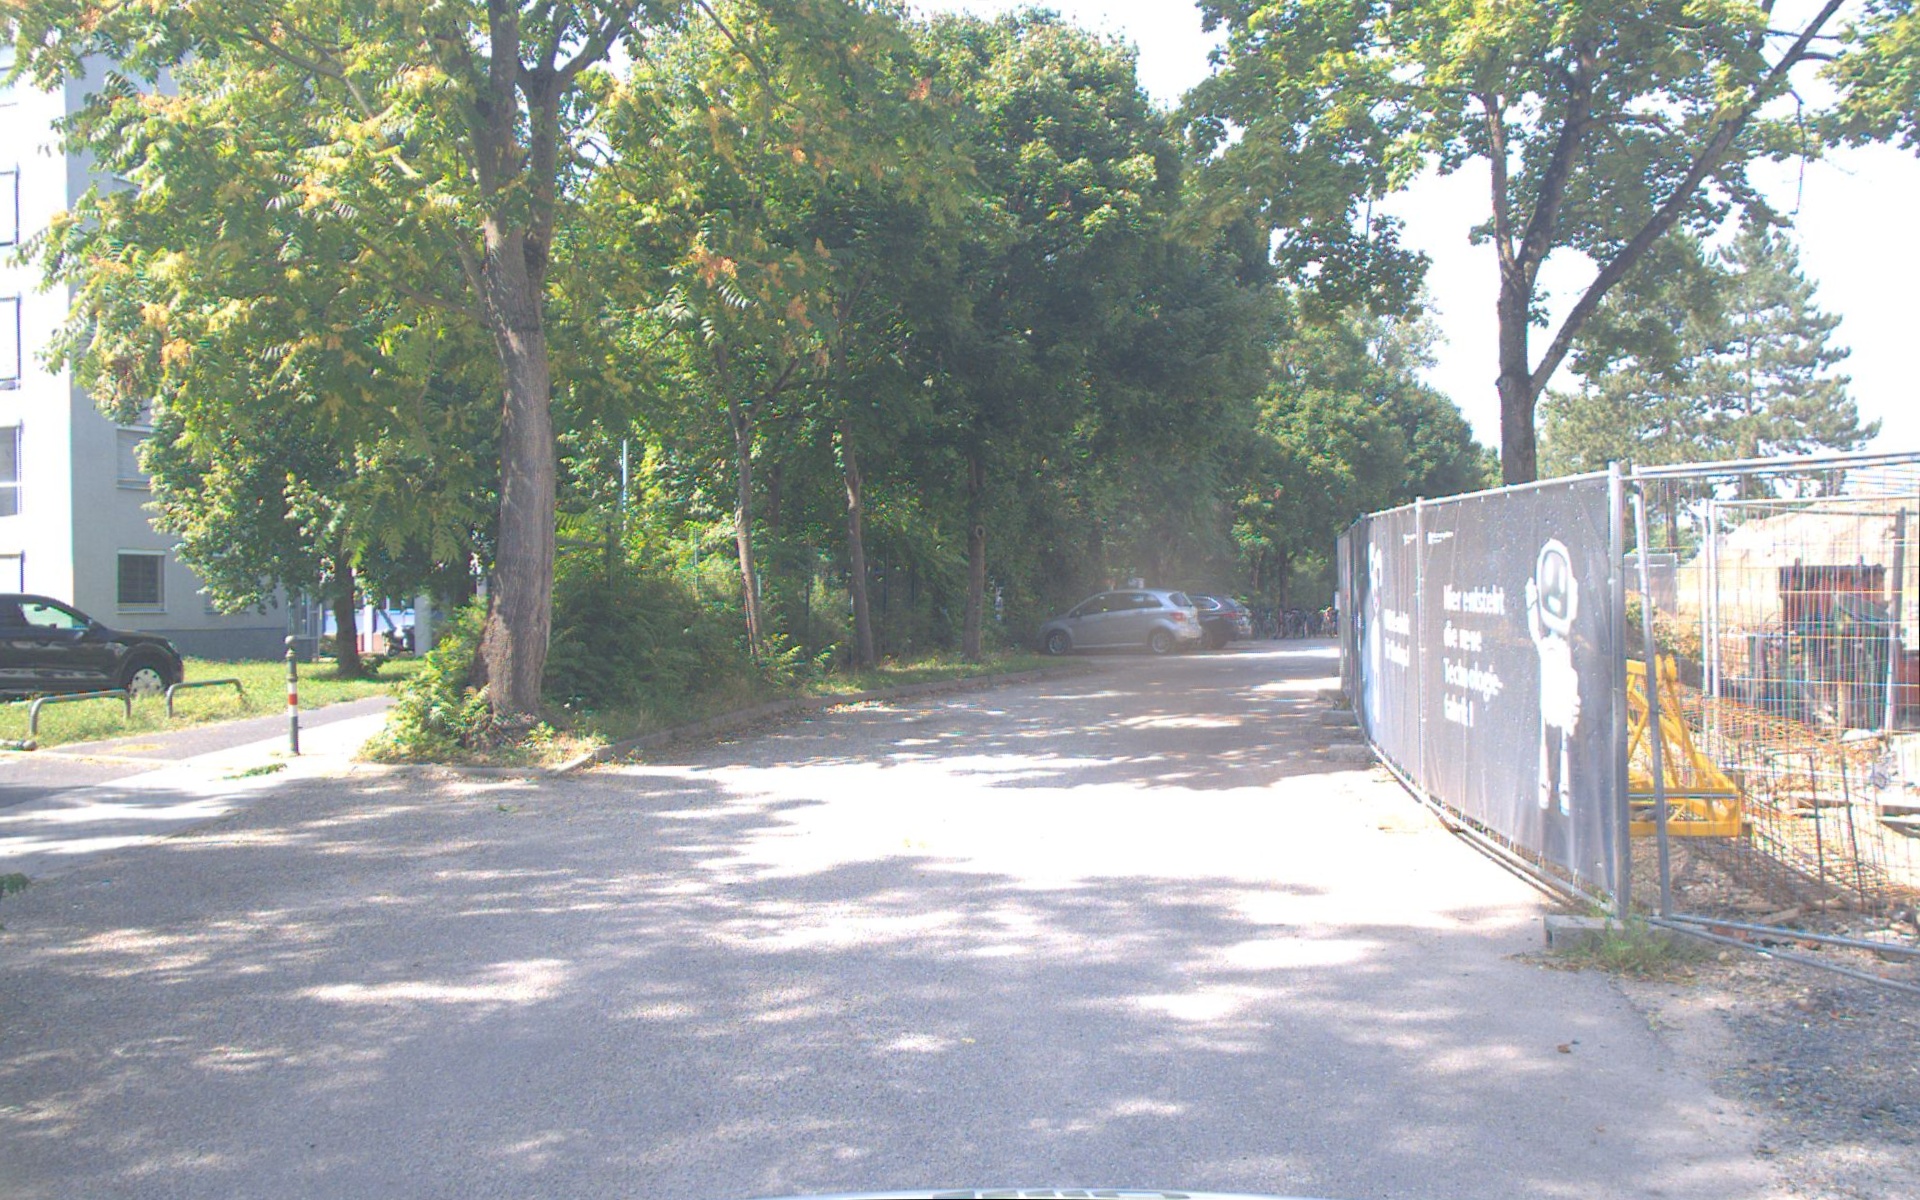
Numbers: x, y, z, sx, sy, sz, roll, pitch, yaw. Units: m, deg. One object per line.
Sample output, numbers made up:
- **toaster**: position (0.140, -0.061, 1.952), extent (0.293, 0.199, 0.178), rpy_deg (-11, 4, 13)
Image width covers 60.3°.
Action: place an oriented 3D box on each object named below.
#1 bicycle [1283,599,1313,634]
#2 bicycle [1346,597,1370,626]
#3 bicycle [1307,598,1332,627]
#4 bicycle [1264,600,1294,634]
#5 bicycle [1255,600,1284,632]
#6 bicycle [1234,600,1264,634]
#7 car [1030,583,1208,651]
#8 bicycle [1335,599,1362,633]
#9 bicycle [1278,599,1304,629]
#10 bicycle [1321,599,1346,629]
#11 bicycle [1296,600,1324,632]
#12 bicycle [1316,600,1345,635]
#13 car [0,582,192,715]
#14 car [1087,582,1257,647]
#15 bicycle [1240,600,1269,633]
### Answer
- **bicycle**: position (11.440, 0.549, 55.925), extent (0.489, 1.127, 1.798), rpy_deg (0, 0, 28)
- **bicycle**: position (15.916, 0.452, 66.120), extent (0.489, 1.127, 1.798), rpy_deg (0, 0, 28)
- **bicycle**: position (14.425, 0.490, 66.362), extent (0.489, 1.127, 1.798), rpy_deg (0, 0, 28)
- **bicycle**: position (10.913, 0.578, 56.575), extent (0.489, 1.127, 1.798), rpy_deg (0, 0, 28)
- **bicycle**: position (10.957, 0.556, 58.593), extent (0.489, 1.127, 1.798), rpy_deg (0, 0, 28)
- **bicycle**: position (9.908, 0.573, 56.720), extent (0.489, 1.127, 1.798), rpy_deg (0, 0, 28)
- **car**: position (4.008, 0.405, 41.658), extent (4.065, 1.641, 1.999), rpy_deg (0, 0, 25)
- **bicycle**: position (13.478, 0.552, 57.331), extent (0.489, 1.127, 1.798), rpy_deg (0, 0, 28)
- **bicycle**: position (12.443, 0.522, 62.135), extent (0.489, 1.127, 1.798), rpy_deg (0, 0, 28)
- **bicycle**: position (14.264, 0.518, 63.120), extent (0.489, 1.127, 1.798), rpy_deg (0, 0, 28)
- **bicycle**: position (12.376, 0.558, 58.398), extent (0.489, 1.127, 1.798), rpy_deg (0, 0, 28)
- **bicycle**: position (12.273, 0.558, 54.770), extent (0.489, 1.127, 1.798), rpy_deg (0, 0, 28)
- **car**: position (-11.685, 0.571, 20.251), extent (1.670, 1.554, 3.906), rpy_deg (-1, 0, 29)
- **car**: position (5.621, 0.357, 43.774), extent (4.065, 1.641, 1.999), rpy_deg (0, 0, 25)
- **bicycle**: position (10.466, 0.571, 58.797), extent (0.489, 1.127, 1.798), rpy_deg (0, 0, 28)
